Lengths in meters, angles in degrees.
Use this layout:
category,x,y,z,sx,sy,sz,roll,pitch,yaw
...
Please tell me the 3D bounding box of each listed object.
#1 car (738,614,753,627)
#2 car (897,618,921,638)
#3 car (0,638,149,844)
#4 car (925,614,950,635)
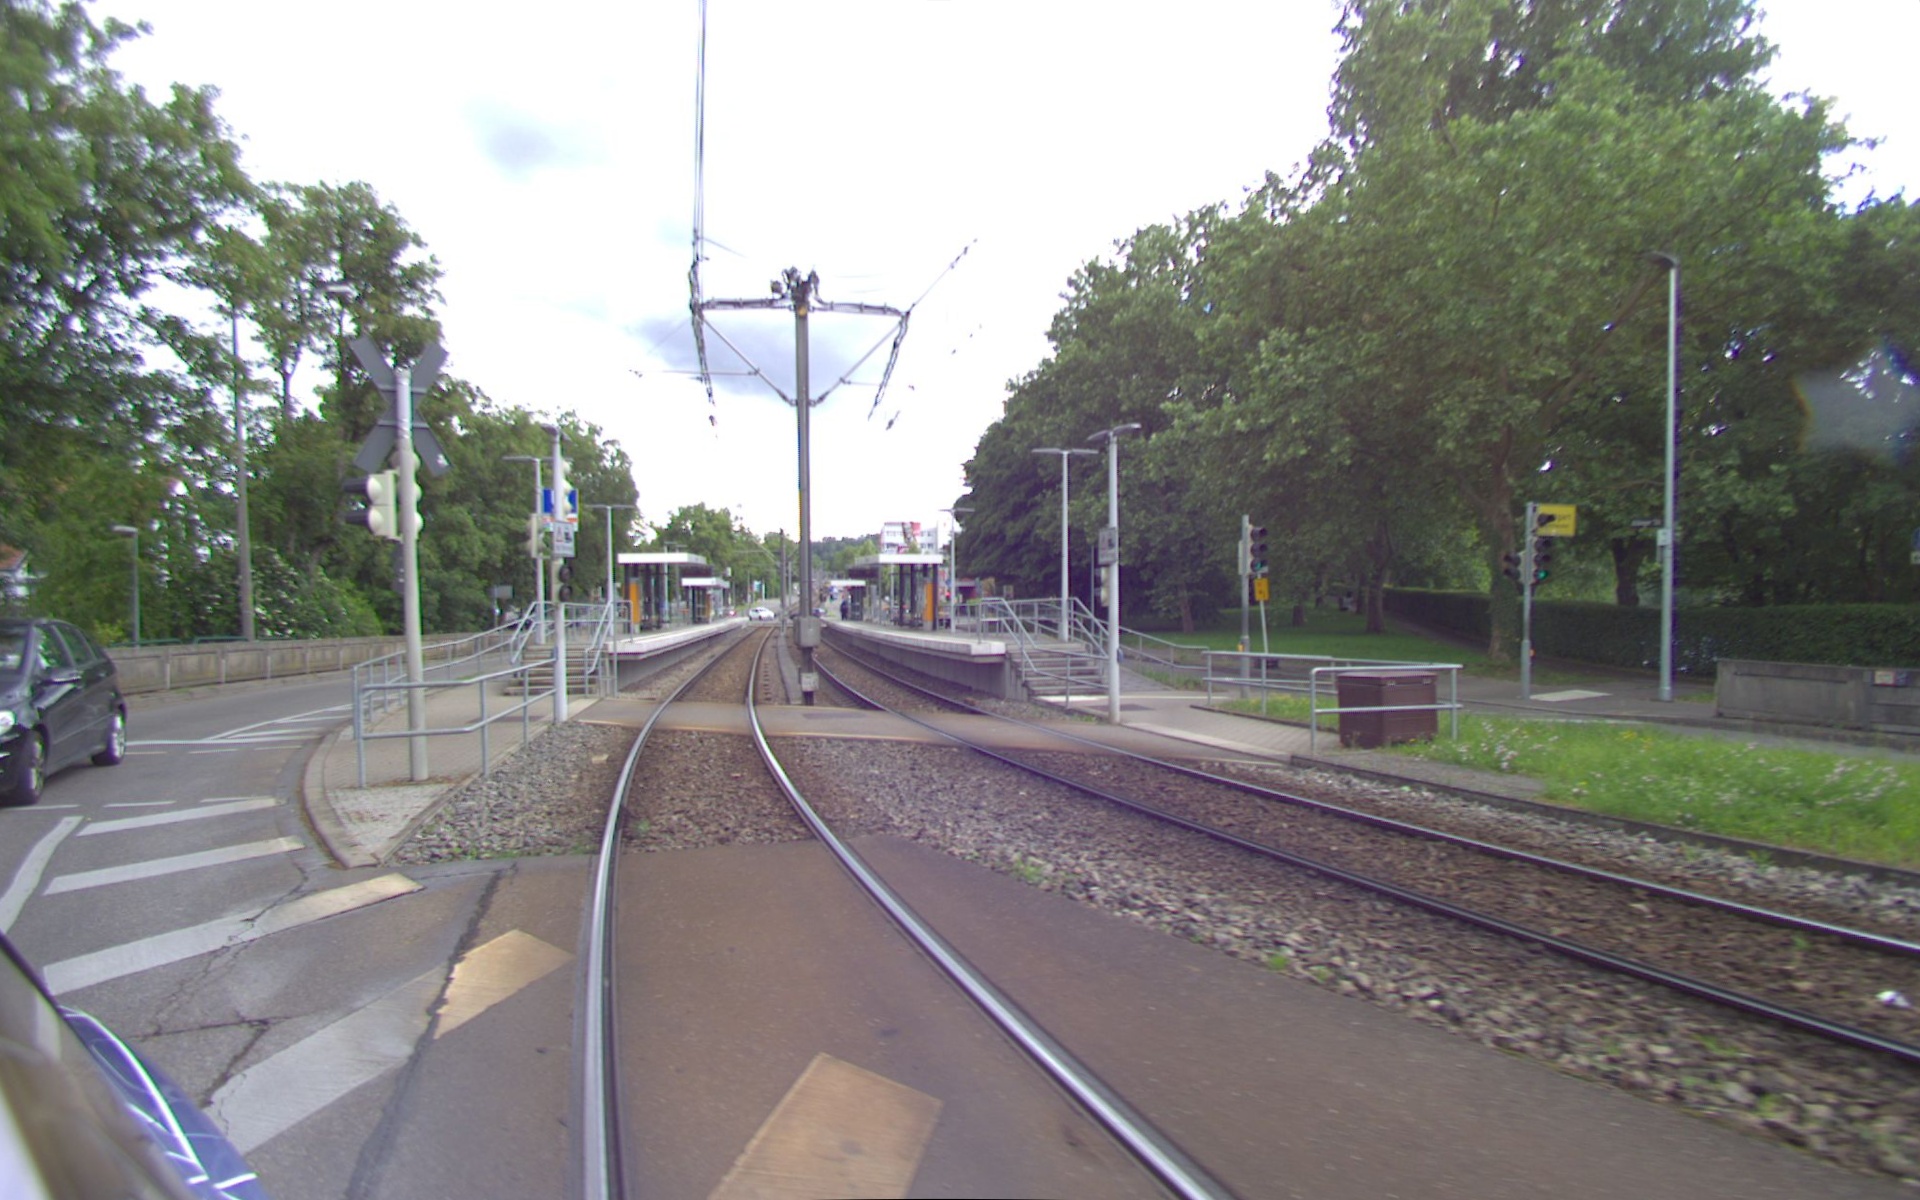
category,x,y,z,sx,sy,sz,roll,pitch,yaw
car,-24.863,2.374,117.480,1.676,1.489,3.717,0,-1,-12
car,-4.686,2.535,92.053,1.743,1.712,3.801,0,-1,-9
car,-9.050,1.149,9.206,1.683,1.595,4.456,1,-2,-27
car,-2.040,2.196,91.446,1.714,1.853,3.807,0,-1,-9
